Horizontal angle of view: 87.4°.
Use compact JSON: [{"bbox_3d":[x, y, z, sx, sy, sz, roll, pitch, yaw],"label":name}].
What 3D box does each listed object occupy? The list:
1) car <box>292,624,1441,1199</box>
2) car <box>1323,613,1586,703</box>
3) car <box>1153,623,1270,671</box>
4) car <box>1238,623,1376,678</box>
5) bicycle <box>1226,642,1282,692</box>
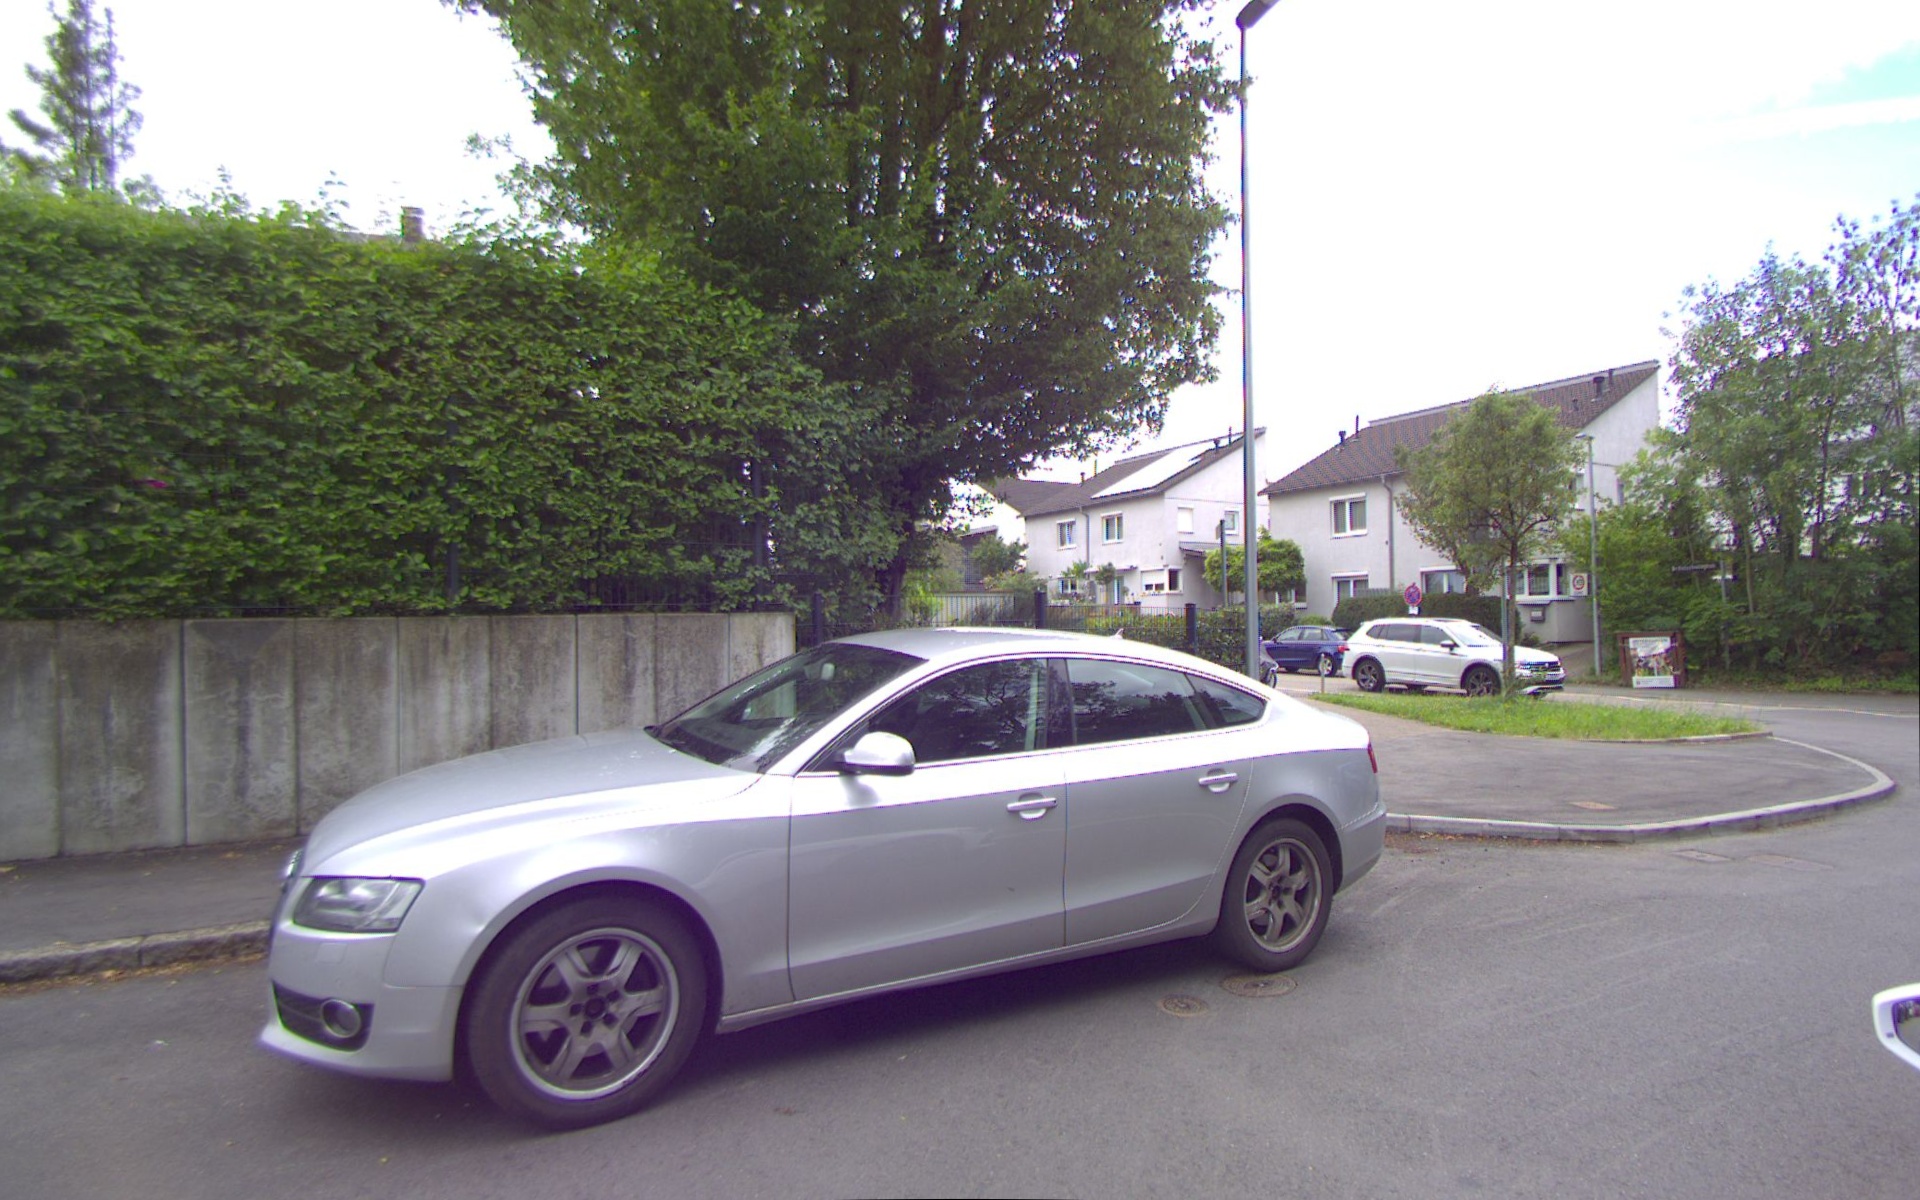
[{"bbox_3d":[-0.141,0.830,4.317,4.392,1.392,1.823,1,0,-30],"label":"car"},{"bbox_3d":[10.575,1.171,21.930,2.012,1.692,4.917,2,-1,-27],"label":"car"},{"bbox_3d":[8.146,1.494,32.830,1.513,1.431,3.765,1,-1,-31],"label":"car"},{"bbox_3d":[10.020,1.418,29.196,1.654,1.431,3.518,1,-1,-34],"label":"car"},{"bbox_3d":[6.694,1.497,23.016,0.639,1.015,2.586,1,-1,3],"label":"bicycle"}]
